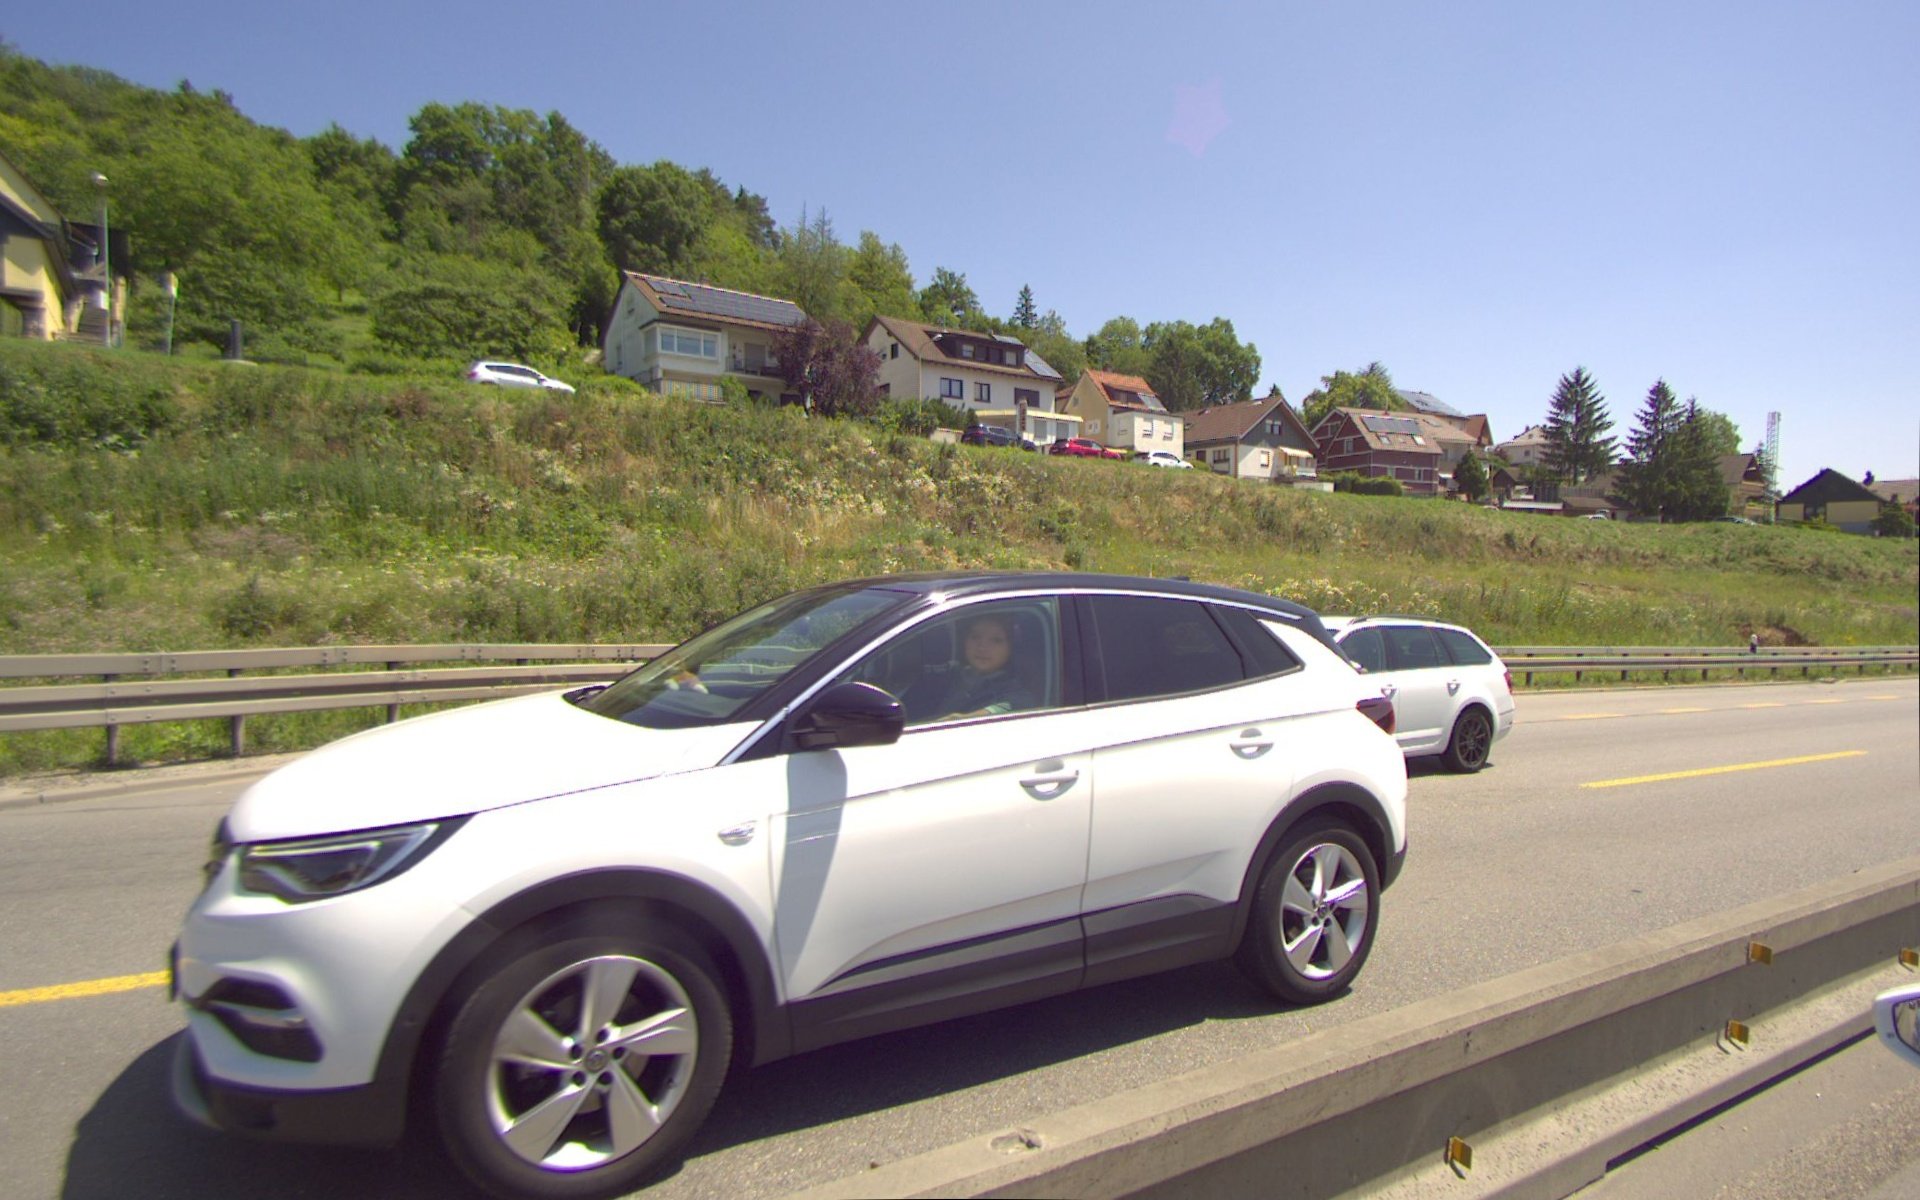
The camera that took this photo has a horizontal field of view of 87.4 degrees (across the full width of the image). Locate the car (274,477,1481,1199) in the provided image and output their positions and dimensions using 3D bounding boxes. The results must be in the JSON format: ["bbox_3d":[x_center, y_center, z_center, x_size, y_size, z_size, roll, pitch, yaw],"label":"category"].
[{"bbox_3d":[-0.061,0.627,3.870,4.125,1.662,1.797,1,0,-31],"label":"car"}]

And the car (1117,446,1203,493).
[{"bbox_3d":[11.995,-7.743,60.128,4.768,2.068,2.334,3,-1,-33],"label":"car"}]

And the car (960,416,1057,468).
[{"bbox_3d":[2.525,-8.086,51.890,4.720,1.817,2.162,3,-1,-37],"label":"car"}]

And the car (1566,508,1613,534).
[{"bbox_3d":[60.514,-7.593,96.554,3.946,2.040,1.988,3,-1,-25],"label":"car"}]

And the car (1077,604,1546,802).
[{"bbox_3d":[3.481,0.845,9.660,4.547,1.517,1.794,1,-1,-31],"label":"car"}]

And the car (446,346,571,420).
[{"bbox_3d":[-17.061,-8.144,38.027,3.963,1.817,1.979,3,-1,-37],"label":"car"}]

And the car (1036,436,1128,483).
[{"bbox_3d":[6.867,-7.839,56.575,4.751,1.817,2.334,3,-1,-34],"label":"car"}]
